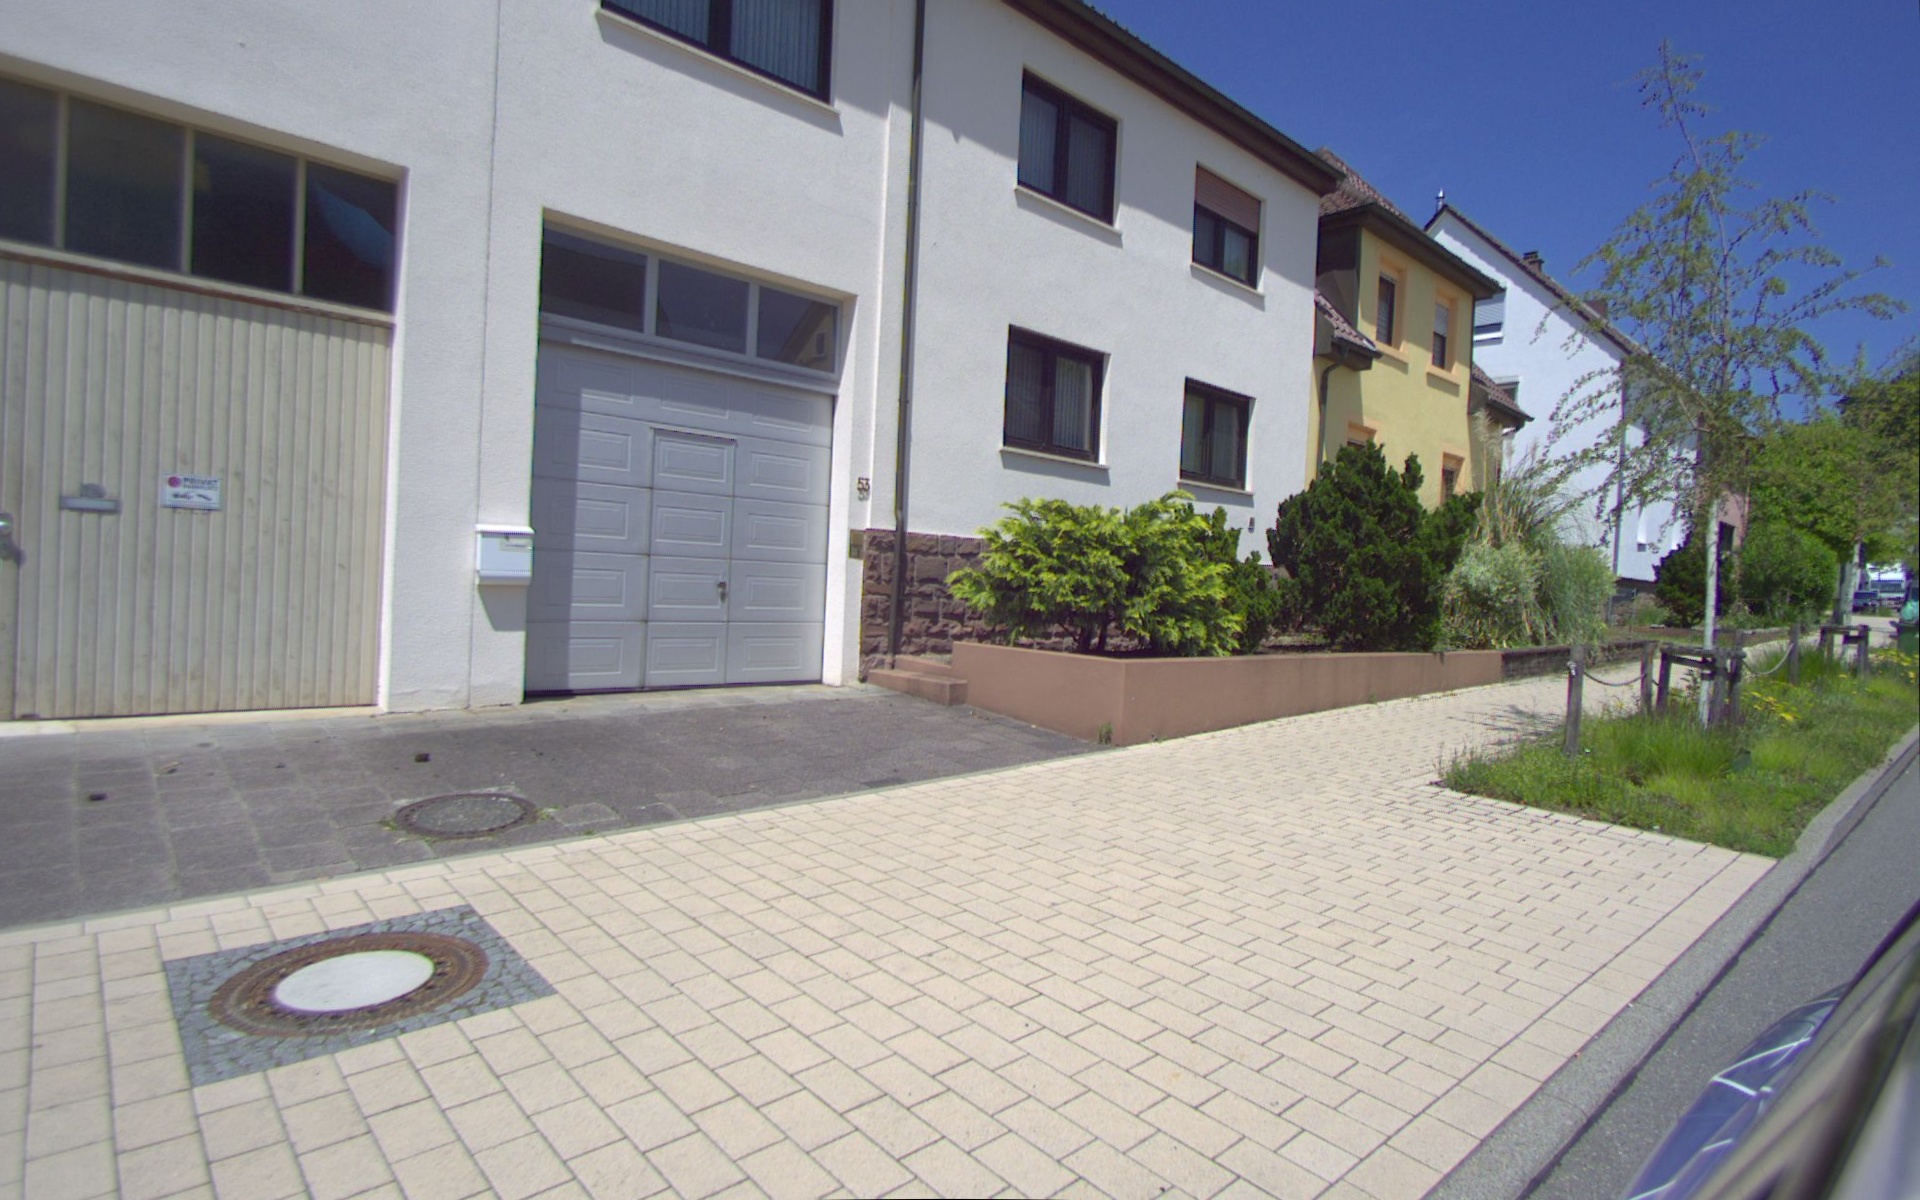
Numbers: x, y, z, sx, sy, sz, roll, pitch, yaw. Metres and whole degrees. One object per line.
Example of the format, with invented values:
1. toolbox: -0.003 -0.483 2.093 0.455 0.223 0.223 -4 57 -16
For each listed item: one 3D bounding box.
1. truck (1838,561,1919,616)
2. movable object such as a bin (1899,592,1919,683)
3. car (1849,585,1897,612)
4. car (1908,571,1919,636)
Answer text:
1. truck: 61.854 -0.791 67.890 2.783 3.457 8.037 1 1 29
2. movable object such as a bin: 15.317 0.586 15.877 0.910 1.412 0.792 0 1 -44
3. car: 51.696 -0.119 57.365 1.668 1.393 3.946 3 3 38
4. car: 29.864 0.115 30.361 1.856 1.865 4.596 5 4 44
